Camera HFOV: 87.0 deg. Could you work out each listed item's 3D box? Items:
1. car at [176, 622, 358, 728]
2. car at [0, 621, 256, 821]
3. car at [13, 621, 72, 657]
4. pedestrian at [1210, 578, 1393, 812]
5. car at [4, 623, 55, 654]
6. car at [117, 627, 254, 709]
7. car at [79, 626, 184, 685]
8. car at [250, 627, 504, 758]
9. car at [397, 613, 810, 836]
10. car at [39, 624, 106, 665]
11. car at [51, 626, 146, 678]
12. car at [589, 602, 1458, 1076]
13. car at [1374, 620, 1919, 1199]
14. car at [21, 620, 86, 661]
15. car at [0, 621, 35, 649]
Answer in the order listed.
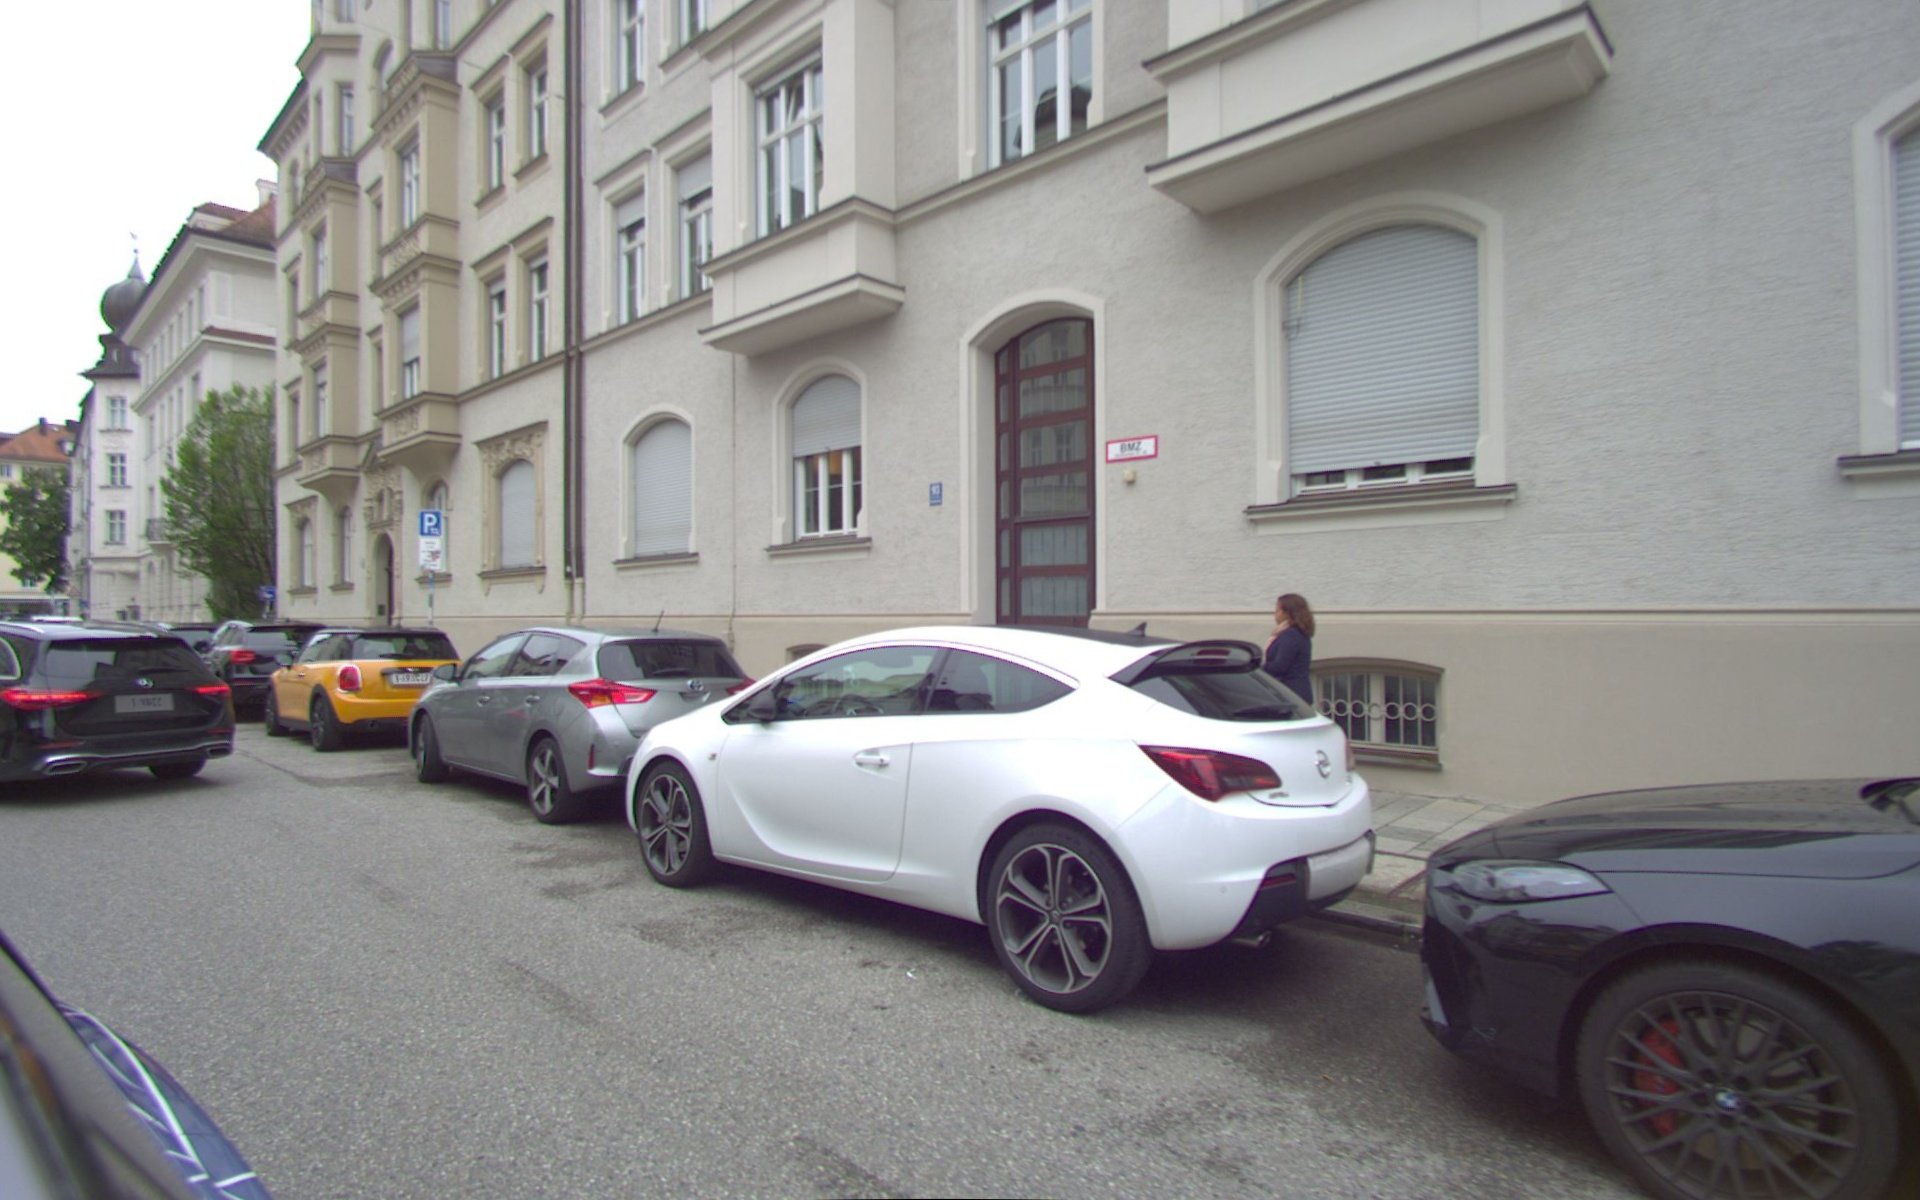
[{"bbox_3d":[-11.014,1.091,15.984,3.942,1.467,1.604,-1,-3,44],"label":"car"},{"bbox_3d":[-8.593,0.903,8.951,4.553,1.424,1.779,-1,-1,24],"label":"car"},{"bbox_3d":[-40.490,1.705,44.641,3.920,1.542,1.605,-1,-3,43],"label":"car"},{"bbox_3d":[2.596,0.670,7.705,1.052,1.620,0.864,-1,-1,43],"label":"pedestrian"},{"bbox_3d":[-47.517,1.948,51.660,3.920,1.542,1.605,-1,-3,43],"label":"car"},{"bbox_3d":[-15.202,1.260,19.782,1.604,1.440,3.943,2,-3,-45],"label":"car"},{"bbox_3d":[-22.200,1.440,27.079,3.688,1.440,1.606,-1,-2,42],"label":"car"},{"bbox_3d":[-7.372,1.034,12.667,3.731,1.373,1.785,-1,-3,44],"label":"car"},{"bbox_3d":[-3.220,0.882,8.743,3.938,1.475,1.785,-1,-3,44],"label":"car"},{"bbox_3d":[-32.990,1.632,37.594,1.604,1.440,3.691,2,-3,-45],"label":"car"},{"bbox_3d":[-25.619,1.495,30.062,3.688,1.440,1.606,-1,-2,42],"label":"car"},{"bbox_3d":[0.005,0.803,5.327,4.378,1.475,1.836,-1,-2,42],"label":"car"},{"bbox_3d":[3.447,0.764,2.191,4.378,1.423,1.836,-1,-2,42],"label":"car"},{"bbox_3d":[-36.559,1.610,40.785,3.690,1.542,1.605,-1,-3,43],"label":"car"},{"bbox_3d":[-55.606,2.040,59.390,3.920,1.542,1.605,-1,-3,43],"label":"car"}]
